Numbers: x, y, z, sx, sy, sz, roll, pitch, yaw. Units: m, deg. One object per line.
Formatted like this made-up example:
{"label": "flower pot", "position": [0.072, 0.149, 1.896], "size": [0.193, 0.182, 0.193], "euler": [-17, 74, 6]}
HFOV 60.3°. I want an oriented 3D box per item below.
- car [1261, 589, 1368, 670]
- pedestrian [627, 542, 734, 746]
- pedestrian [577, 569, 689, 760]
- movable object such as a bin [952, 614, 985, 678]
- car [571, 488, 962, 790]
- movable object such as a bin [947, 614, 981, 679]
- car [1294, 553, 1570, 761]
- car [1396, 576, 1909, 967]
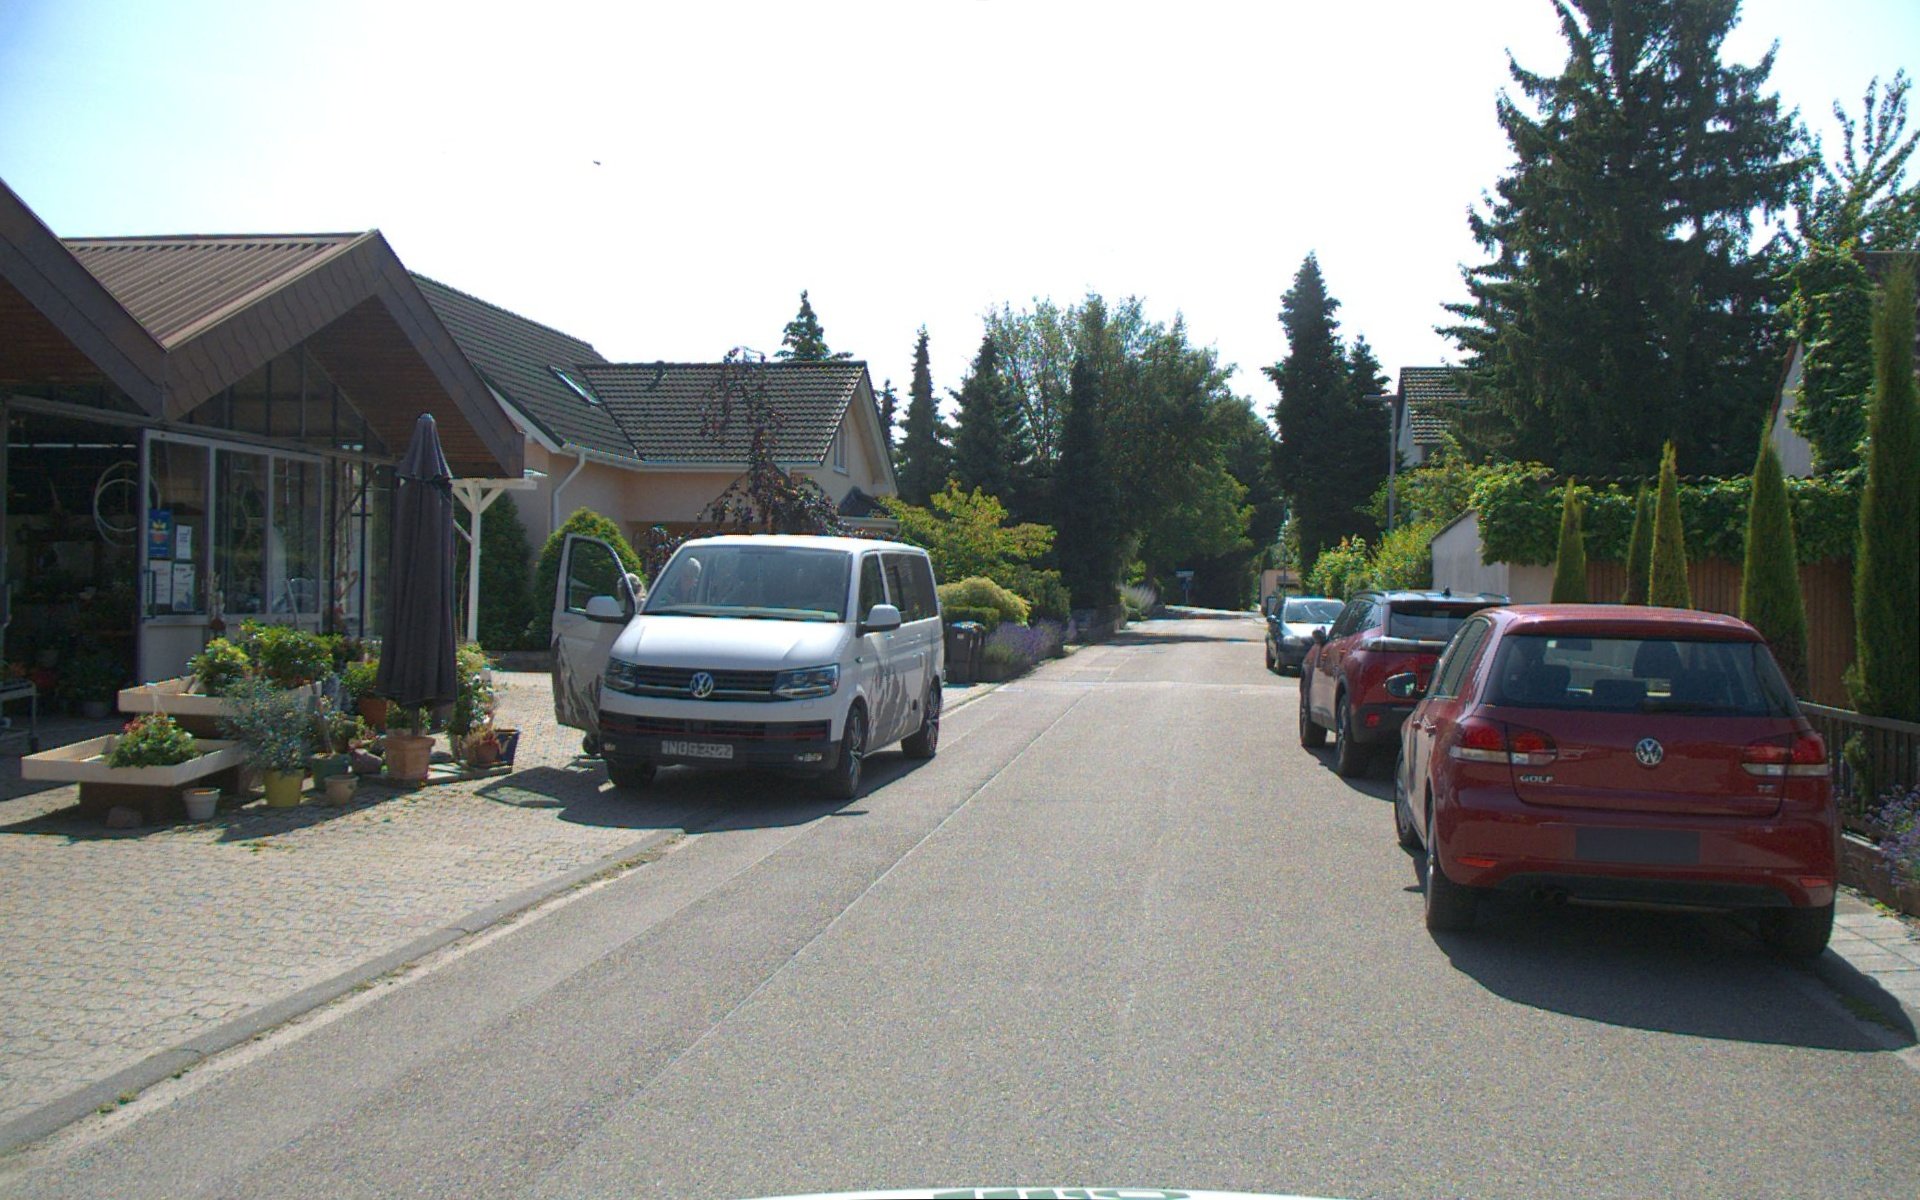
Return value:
{"label": "car", "position": [6.759, 0.545, 31.845], "size": [1.666, 1.424, 4.003], "euler": [1, 0, 7]}
{"label": "pedestrian", "position": [-2.495, 0.374, 14.778], "size": [0.679, 1.761, 0.639], "euler": [1, 0, 39]}
{"label": "pedestrian", "position": [-2.781, 0.525, 14.062], "size": [0.707, 1.565, 0.638], "euler": [1, 0, 42]}
{"label": "movable object such as a bin", "position": [0.144, 0.750, 27.322], "size": [0.483, 1.042, 0.448], "euler": [0, 0, 9]}
{"label": "car", "position": [-1.348, 0.268, 13.802], "size": [1.887, 2.049, 4.900], "euler": [0, 0, 10]}
{"label": "movable object such as a bin", "position": [0.062, 0.756, 26.863], "size": [0.483, 1.042, 0.448], "euler": [0, 0, 9]}
{"label": "car", "position": [4.221, 0.462, 15.400], "size": [1.784, 1.643, 4.003], "euler": [1, 0, 6]}
{"label": "car", "position": [3.329, 0.694, 8.743], "size": [1.737, 1.505, 4.003], "euler": [2, 0, 12]}
